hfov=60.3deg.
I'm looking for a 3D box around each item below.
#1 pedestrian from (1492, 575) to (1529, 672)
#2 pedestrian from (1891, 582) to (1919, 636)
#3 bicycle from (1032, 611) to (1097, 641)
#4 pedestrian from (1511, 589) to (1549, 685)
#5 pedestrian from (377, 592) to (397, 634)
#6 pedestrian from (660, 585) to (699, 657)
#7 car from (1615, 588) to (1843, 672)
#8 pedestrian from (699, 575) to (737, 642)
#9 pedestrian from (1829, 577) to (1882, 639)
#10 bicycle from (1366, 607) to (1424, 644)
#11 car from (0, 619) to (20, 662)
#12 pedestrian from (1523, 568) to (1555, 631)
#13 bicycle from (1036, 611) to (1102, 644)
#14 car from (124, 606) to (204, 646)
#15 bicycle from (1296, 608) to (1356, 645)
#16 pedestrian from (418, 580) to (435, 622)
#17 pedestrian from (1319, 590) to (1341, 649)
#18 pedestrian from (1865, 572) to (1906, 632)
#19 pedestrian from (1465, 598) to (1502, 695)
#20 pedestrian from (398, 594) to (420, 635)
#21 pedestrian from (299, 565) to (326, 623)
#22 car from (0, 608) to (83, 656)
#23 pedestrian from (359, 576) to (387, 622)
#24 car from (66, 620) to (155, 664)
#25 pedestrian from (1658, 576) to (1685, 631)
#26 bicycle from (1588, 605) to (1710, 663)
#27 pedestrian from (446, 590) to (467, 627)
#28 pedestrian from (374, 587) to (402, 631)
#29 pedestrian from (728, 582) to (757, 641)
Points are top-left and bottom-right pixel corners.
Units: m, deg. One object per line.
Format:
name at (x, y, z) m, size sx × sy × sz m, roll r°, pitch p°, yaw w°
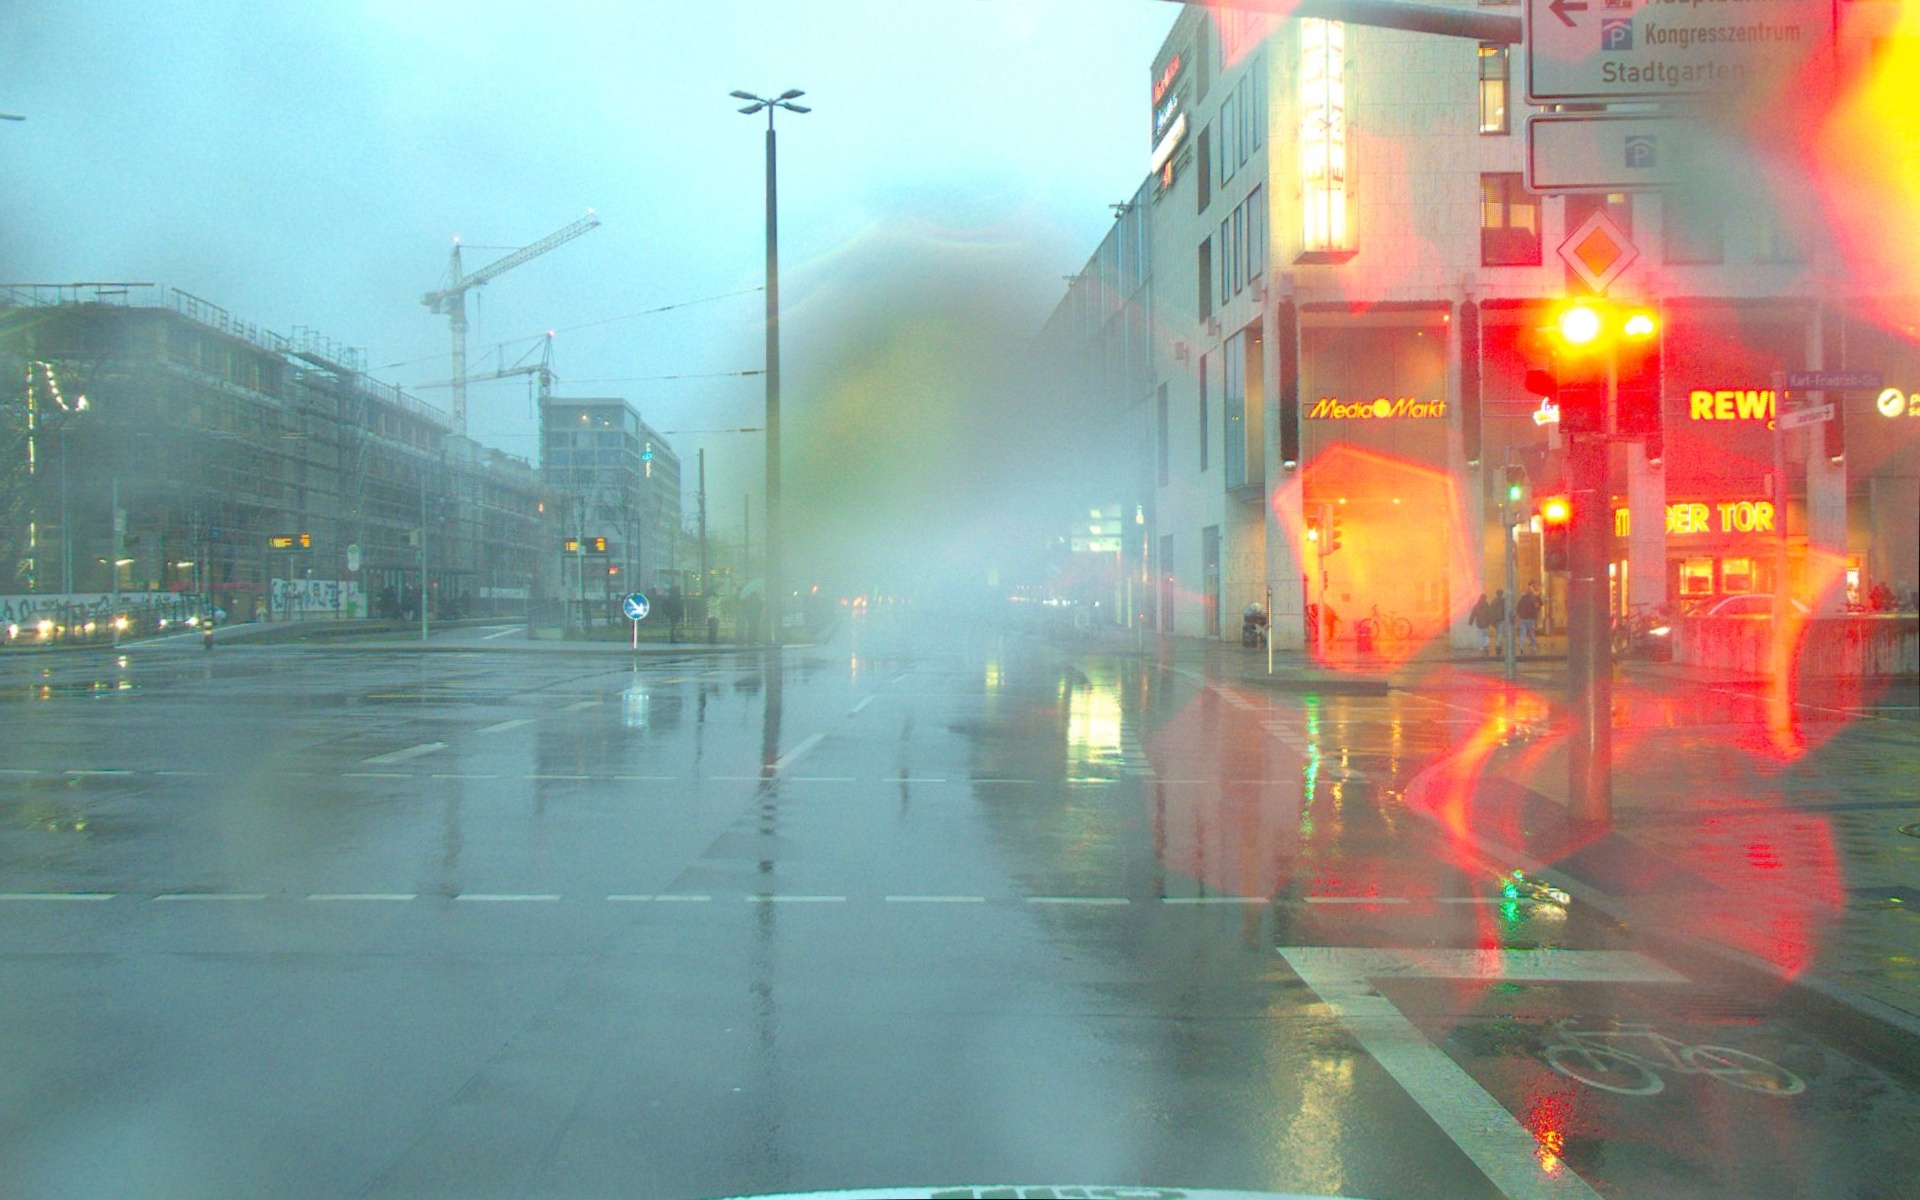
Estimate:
pedestrian at (14.319, 0.608, 43.066) m, size 0.675 × 2.484 × 0.758 m, roll 1°, pitch -1°, yaw -1°
pedestrian at (26.527, 0.252, 46.370) m, size 0.573 × 1.520 × 0.519 m, roll 0°, pitch -1°, yaw 2°
bicycle at (3.933, 0.979, 62.495) m, size 2.376 × 1.118 × 0.711 m, roll -1°, pitch -1°, yaw -3°
pedestrian at (15.062, 0.974, 43.703) m, size 0.679 × 2.491 × 0.791 m, roll 1°, pitch -1°, yaw -1°
pedestrian at (-26.512, 0.590, 76.560) m, size 0.684 × 1.913 × 0.553 m, roll 1°, pitch -1°, yaw -2°
pedestrian at (-8.009, 0.598, 47.231) m, size 0.771 × 2.049 × 0.724 m, roll 0°, pitch -1°, yaw 41°
car at (16.243, 0.621, 35.065) m, size 3.905 × 1.646 × 2.000 m, roll 1°, pitch 0°, yaw 0°
pedestrian at (-6.792, 0.235, 46.401) m, size 0.813 × 1.863 × 0.777 m, roll 1°, pitch -1°, yaw -31°
pedestrian at (25.004, 0.229, 46.198) m, size 1.009 × 1.713 × 0.824 m, roll 1°, pitch -1°, yaw -1°
bicycle at (13.413, 0.783, 51.004) m, size 1.614 × 1.088 × 0.524 m, roll 1°, pitch -1°, yaw -5°
car at (-36.412, 1.517, 60.520) m, size 2.038 × 1.557 × 4.604 m, roll -1°, pitch 0°, yaw -10°
pedestrian at (19.057, -0.026, 54.452) m, size 0.828 × 2.049 × 0.698 m, roll -1°, pitch 0°, yaw 8°
bicycle at (4.066, 1.019, 61.638) m, size 2.393 × 1.174 × 0.674 m, roll -1°, pitch -1°, yaw -2°
car at (-37.864, 1.214, 78.775) m, size 1.953 × 1.822 × 3.998 m, roll 1°, pitch 0°, yaw -2°
bicycle at (11.243, 0.814, 50.826) m, size 1.734 × 1.088 × 0.523 m, roll 1°, pitch -1°, yaw -9°
pedestrian at (-25.938, 0.053, 80.389) m, size 0.559 × 2.002 × 0.664 m, roll 2°, pitch -1°, yaw -7°
pedestrian at (11.243, 0.582, 50.241) m, size 0.587 × 1.775 × 0.525 m, roll 1°, pitch -1°, yaw 7°
pedestrian at (26.865, 0.057, 48.024) m, size 0.875 × 1.714 × 0.528 m, roll -1°, pitch -1°, yaw -1°
pedestrian at (13.581, 1.205, 42.926) m, size 0.700 × 2.484 × 0.758 m, roll 1°, pitch -1°, yaw -1°
pedestrian at (-26.271, 0.675, 78.883) m, size 0.750 × 1.931 × 0.762 m, roll 1°, pitch -2°, yaw -1°
pedestrian at (-26.759, -0.246, 68.370) m, size 0.750 × 2.364 × 0.762 m, roll 1°, pitch -2°, yaw -1°
car at (-37.221, 1.272, 66.827) m, size 1.830 × 1.860 × 3.993 m, roll 1°, pitch 0°, yaw -8°
pedestrian at (-26.791, -0.039, 75.475) m, size 0.923 × 2.049 × 1.093 m, roll 1°, pitch -1°, yaw -4°
car at (-37.550, 1.823, 73.225) m, size 1.953 × 1.822 × 3.998 m, roll 1°, pitch 0°, yaw -2°
pedestrian at (22.852, 0.107, 53.126) m, size 0.721 × 1.748 × 0.738 m, roll -1°, pitch -1°, yaw 27°
bicycle at (17.195, 0.837, 41.334) m, size 2.659 × 1.383 × 0.957 m, roll -1°, pitch -1°, yaw -4°
pedestrian at (-27.675, 0.468, 90.868) m, size 0.924 × 2.049 × 1.092 m, roll 1°, pitch -1°, yaw -9°
pedestrian at (-26.888, 0.426, 77.752) m, size 0.923 × 2.049 × 1.093 m, roll 1°, pitch -1°, yaw -3°
pedestrian at (-6.291, 0.331, 47.878) m, size 0.601 × 1.715 × 0.575 m, roll 0°, pitch -1°, yaw 41°
